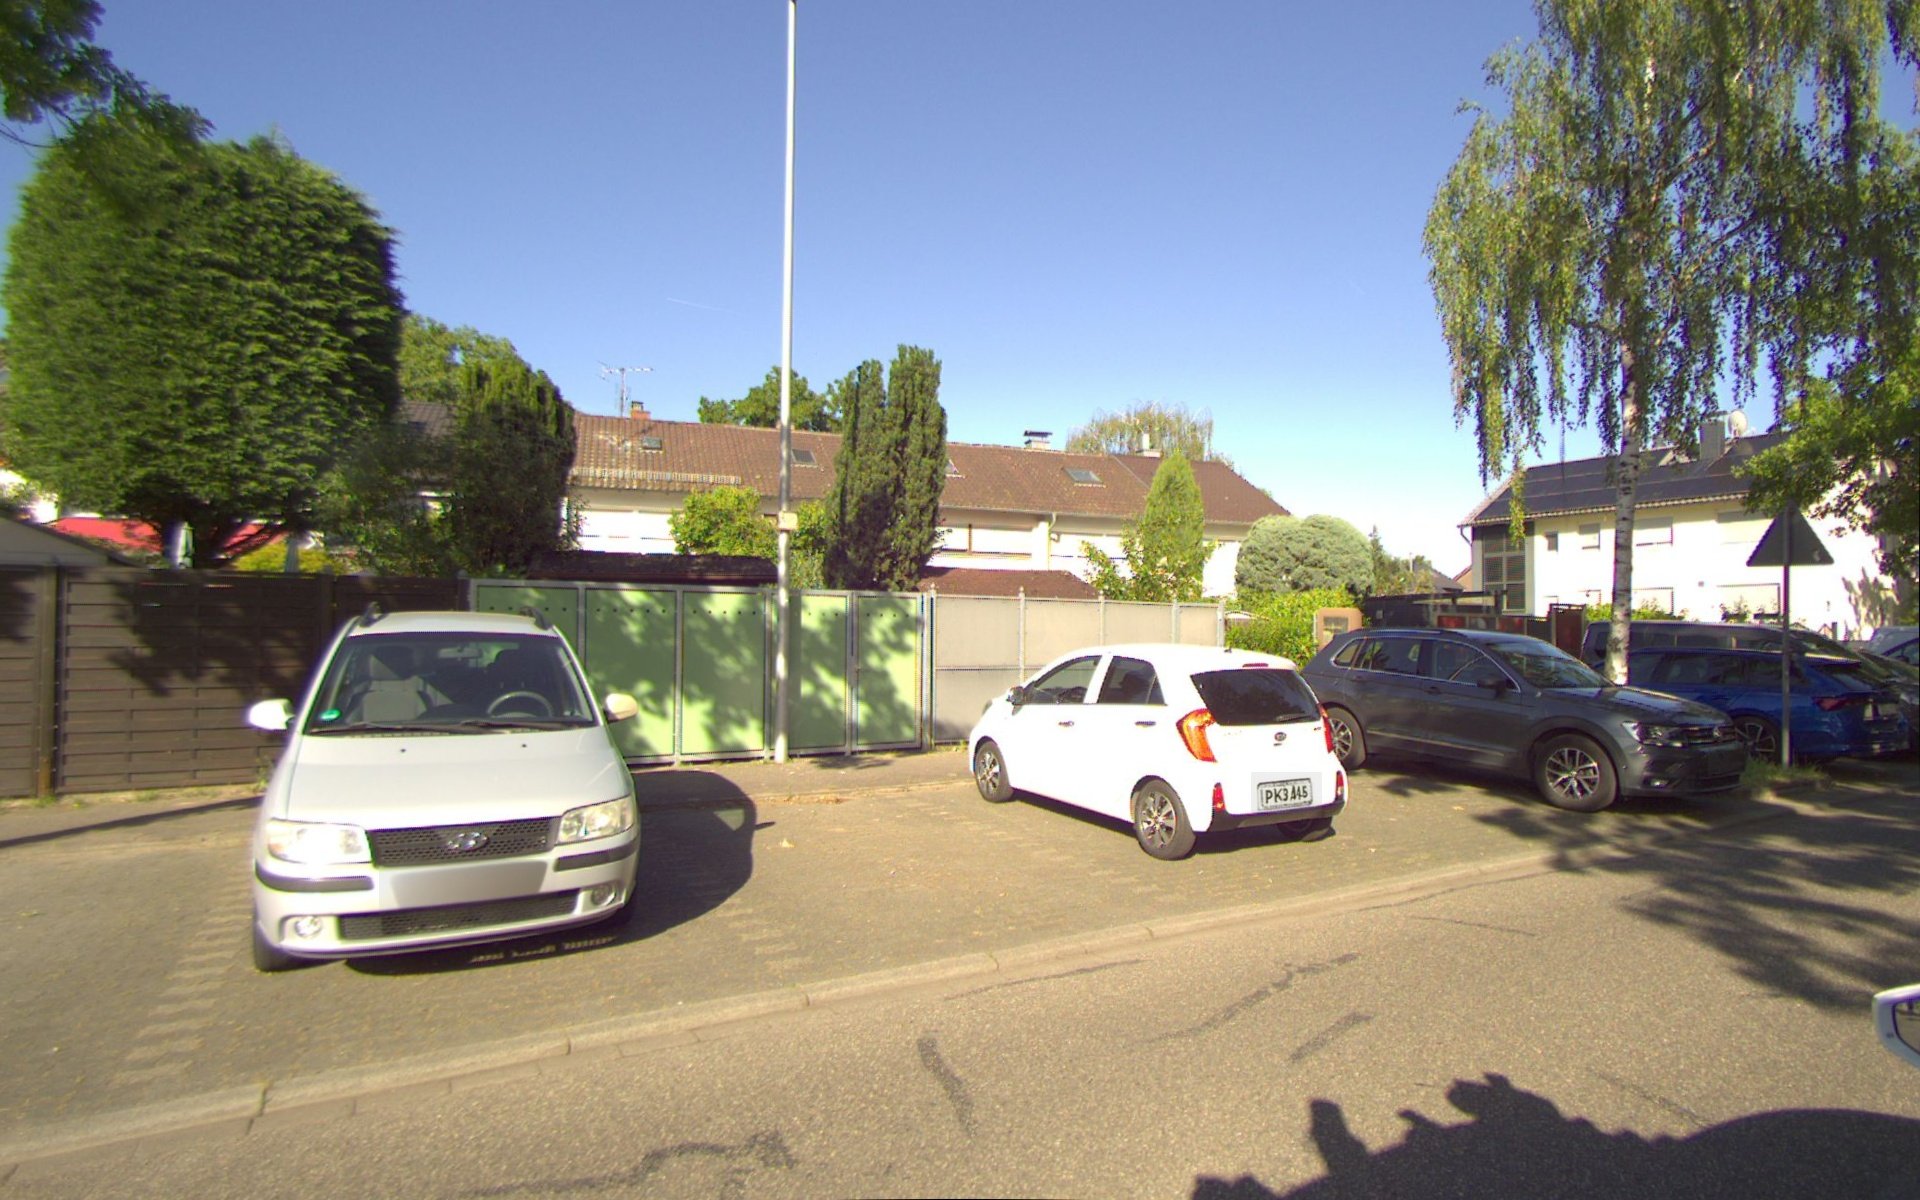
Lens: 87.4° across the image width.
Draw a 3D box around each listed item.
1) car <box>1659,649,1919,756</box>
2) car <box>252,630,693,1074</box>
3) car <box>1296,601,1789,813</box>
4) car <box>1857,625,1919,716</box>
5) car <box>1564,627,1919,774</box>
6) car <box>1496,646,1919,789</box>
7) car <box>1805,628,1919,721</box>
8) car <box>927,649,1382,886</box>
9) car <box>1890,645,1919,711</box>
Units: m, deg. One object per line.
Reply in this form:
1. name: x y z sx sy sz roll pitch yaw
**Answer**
1. car: 13.978 1.542 15.891 1.817 1.519 4.451 2 -3 -33
2. car: -2.935 1.044 6.039 1.685 1.635 3.922 1 -1 -29
3. car: 5.780 0.976 10.573 1.739 1.746 4.192 1 -3 -29
4. car: 22.173 1.515 21.403 1.980 1.969 4.211 2 -3 -34
5. car: 11.874 1.339 14.975 1.775 1.792 4.648 1 -1 -32
6. car: 9.623 1.395 13.301 1.703 1.443 4.253 1 -1 -29
7. car: 19.954 1.525 20.183 1.947 1.793 4.212 1 -1 -34
8. car: 1.396 1.201 8.772 1.773 1.535 3.985 1 -3 -29
9. car: 24.103 1.808 22.881 1.672 1.536 3.966 1 -3 -32
